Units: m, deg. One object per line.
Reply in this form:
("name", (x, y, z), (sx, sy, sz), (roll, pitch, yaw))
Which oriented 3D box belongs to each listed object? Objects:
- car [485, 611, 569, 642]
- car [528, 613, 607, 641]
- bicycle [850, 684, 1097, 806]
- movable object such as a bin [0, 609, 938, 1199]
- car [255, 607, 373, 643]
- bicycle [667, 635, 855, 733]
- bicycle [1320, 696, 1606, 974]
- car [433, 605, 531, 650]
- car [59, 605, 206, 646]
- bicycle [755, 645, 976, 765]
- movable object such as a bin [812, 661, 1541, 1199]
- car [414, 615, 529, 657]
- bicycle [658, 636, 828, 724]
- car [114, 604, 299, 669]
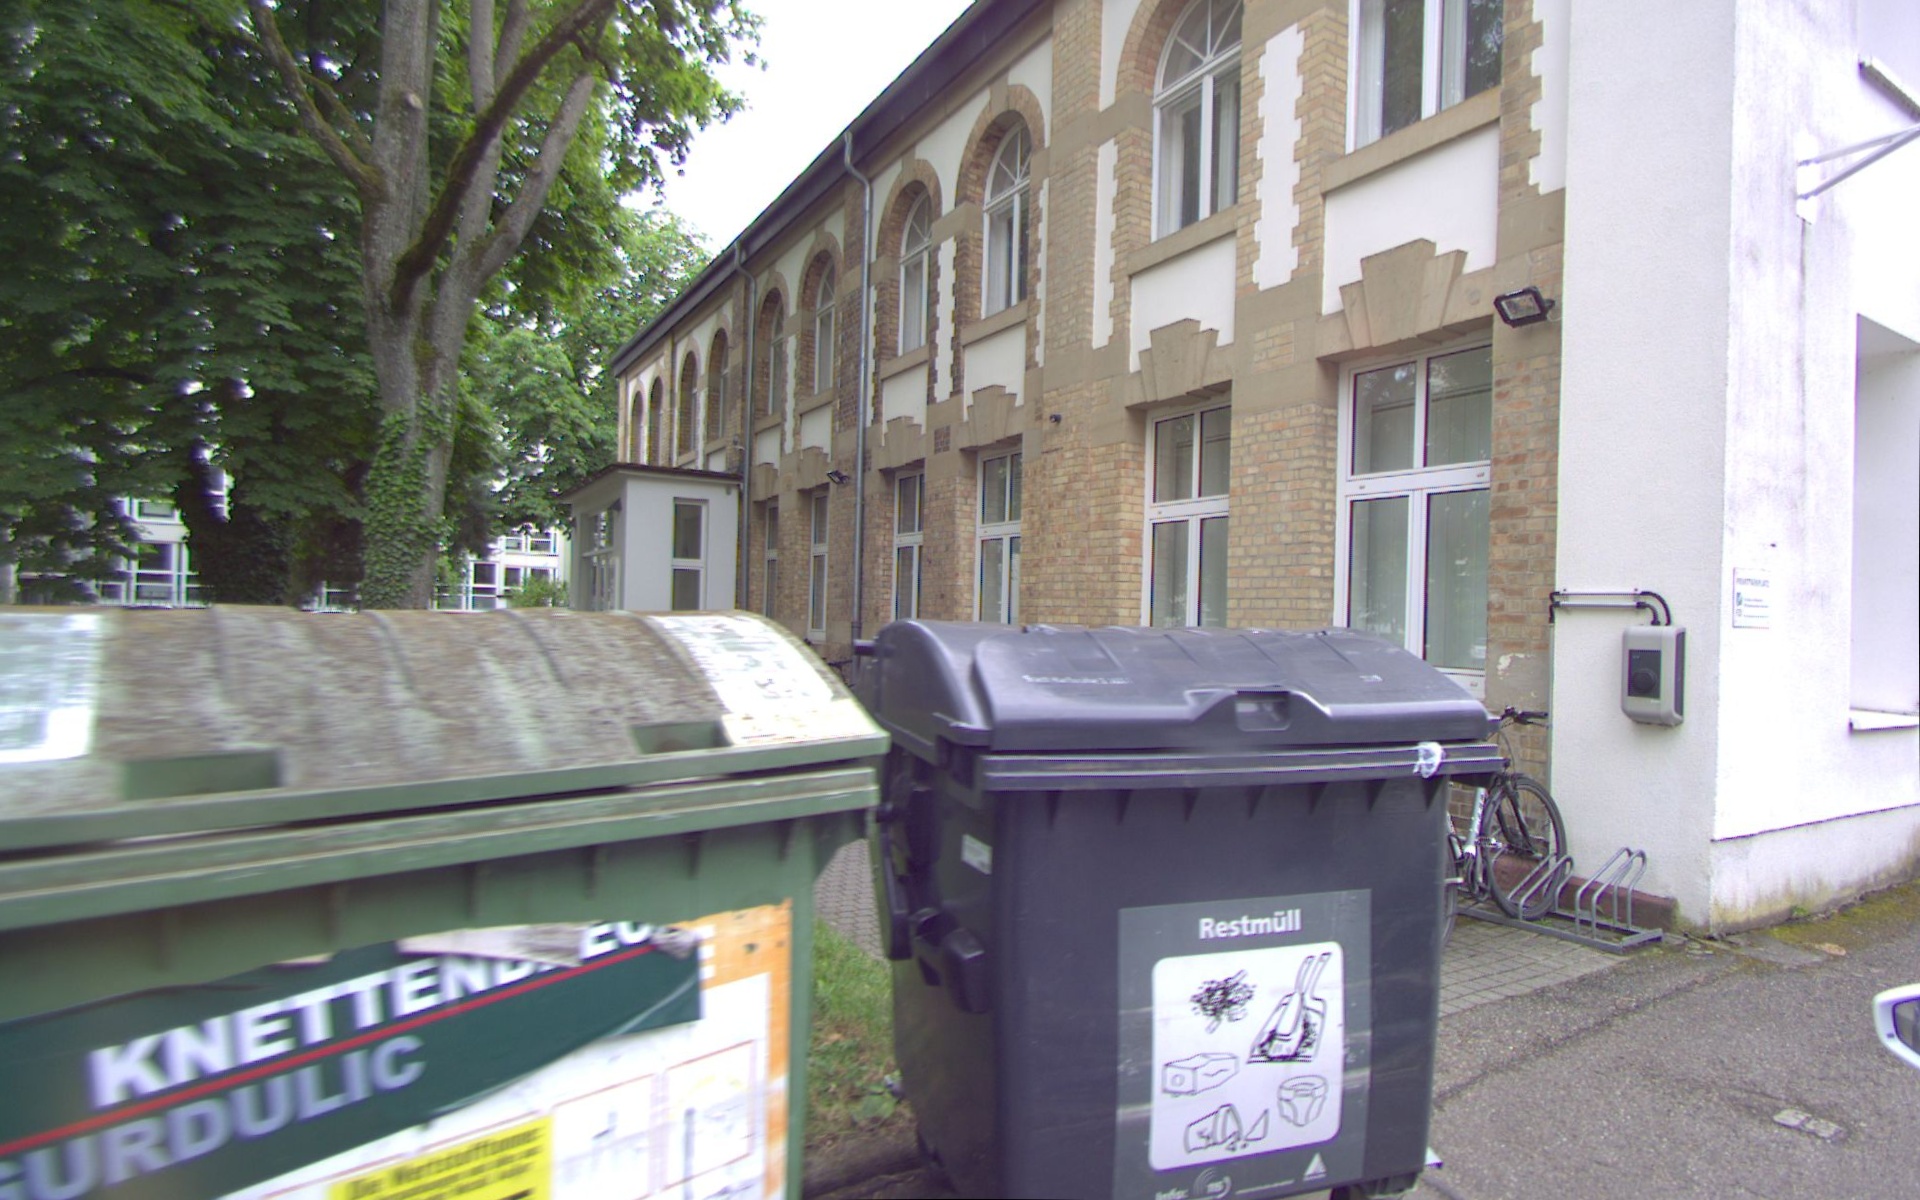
("car", (-22.745, 1.379, 52.871), (3.644, 1.404, 1.701), (3, 0, 7))
("car", (-21.665, 1.476, 55.497), (3.644, 1.404, 1.701), (3, 0, 7))
("bicycle", (0.126, 1.130, 8.094), (1.918, 0.824, 0.615), (1, -1, -26))
("movable object such as a bin", (-0.890, 0.671, 1.589), (1.343, 1.281, 1.043), (2, -1, -40))
("car", (-28.102, 1.076, 43.809), (3.901, 1.369, 1.695), (3, 0, -14))
("bicycle", (-2.460, 1.026, 12.509), (2.192, 1.134, 0.615), (2, -1, -26))
("bicycle", (2.489, 1.046, 4.870), (1.809, 1.079, 0.392), (2, -1, -34))
("car", (-23.937, 1.371, 50.390), (3.919, 2.040, 2.001), (2, -1, 5))
("car", (-31.575, 0.963, 38.441), (3.901, 1.369, 1.695), (3, 0, -14))
("bicycle", (-0.952, 1.048, 10.366), (2.192, 1.134, 0.615), (2, -1, -26))
("movable object such as a bin", (0.417, 0.817, 2.391), (1.333, 1.281, 1.051), (1, -1, -19))
("car", (-16.192, 1.173, 33.396), (1.486, 1.320, 3.174), (1, -1, 28))
("bicycle", (-2.973, 1.084, 13.849), (2.192, 1.134, 0.615), (2, -1, -26))
("car", (-19.575, 0.934, 26.227), (1.454, 1.500, 3.558), (3, 0, 30))
